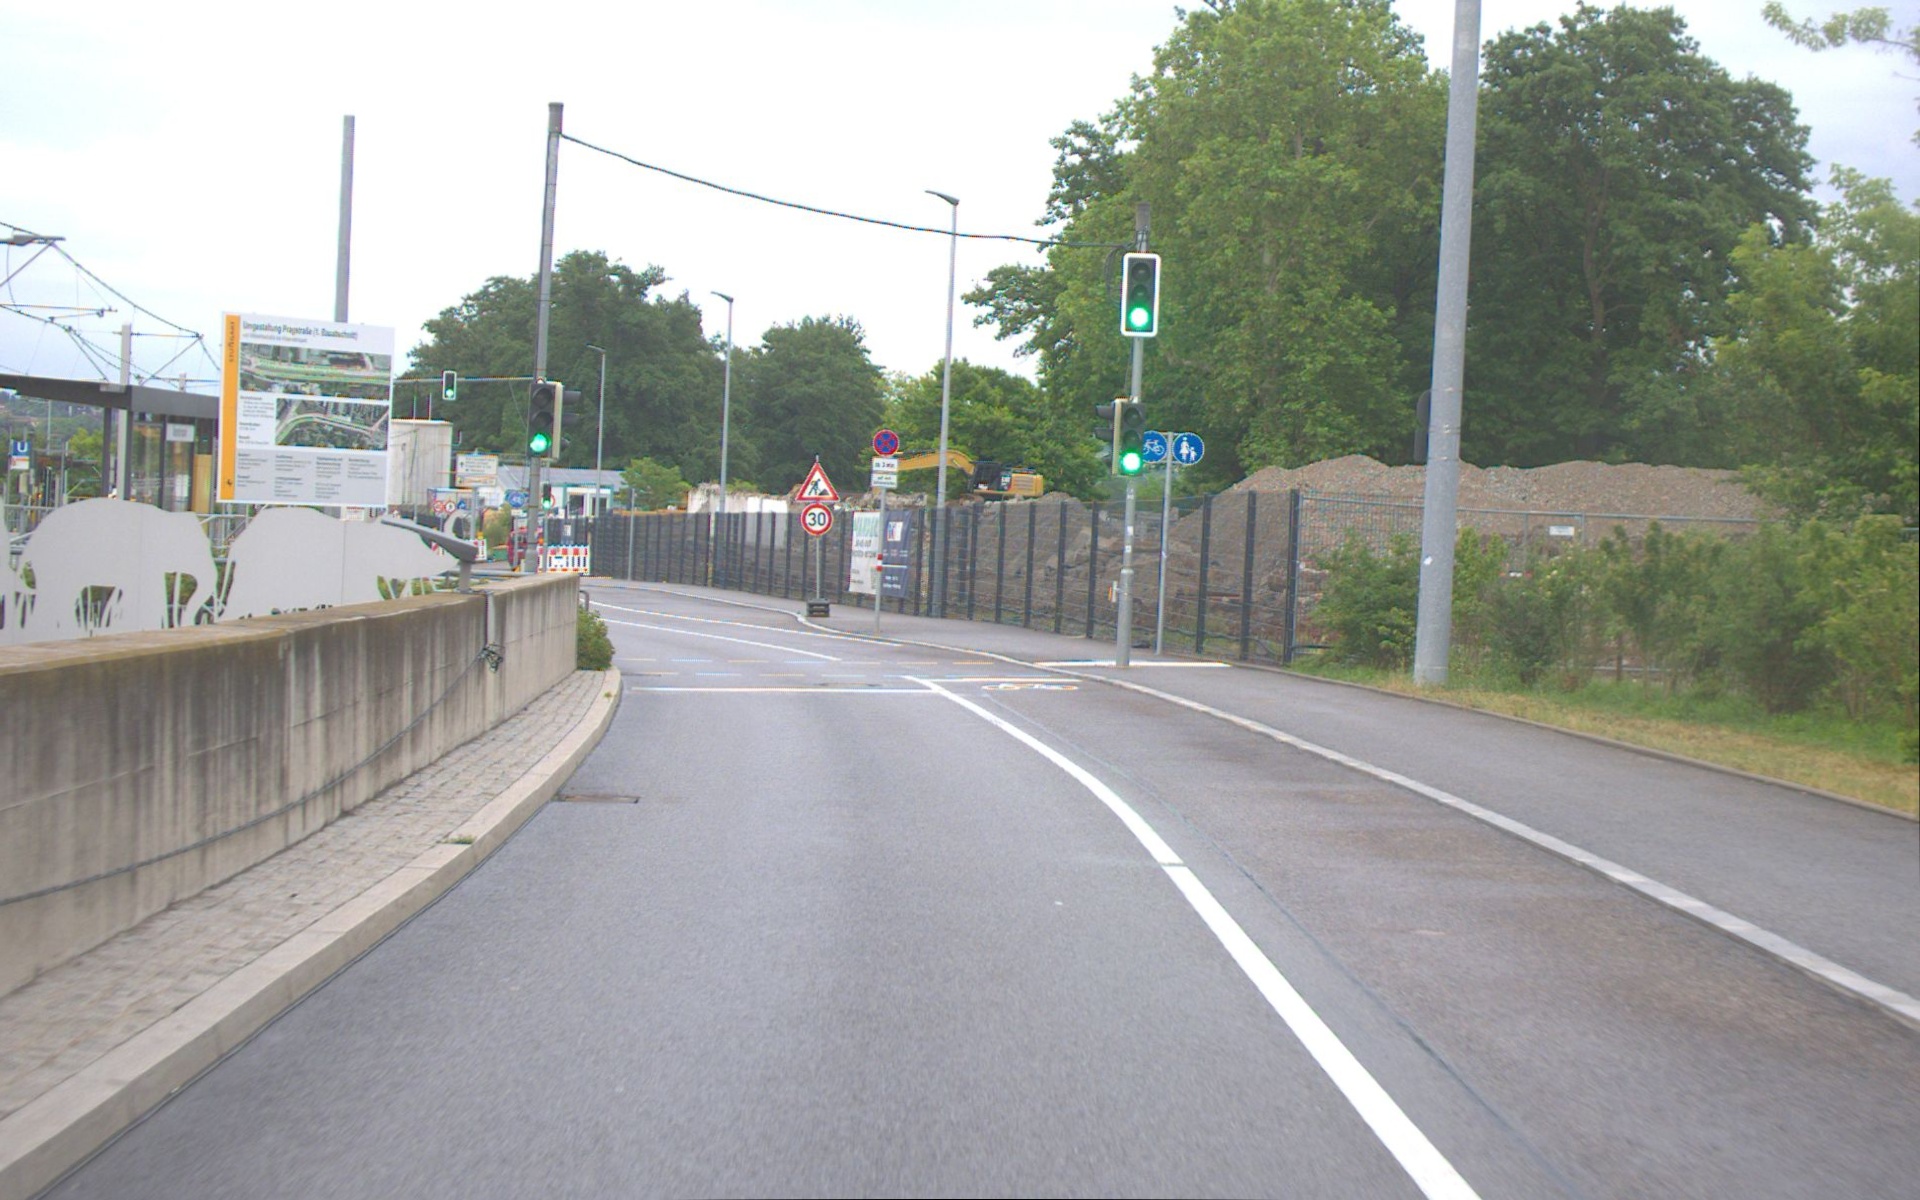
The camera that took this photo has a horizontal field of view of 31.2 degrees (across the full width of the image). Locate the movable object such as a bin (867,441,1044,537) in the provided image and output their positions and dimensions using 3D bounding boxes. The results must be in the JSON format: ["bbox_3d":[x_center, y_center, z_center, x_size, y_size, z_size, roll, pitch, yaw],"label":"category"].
[{"bbox_3d":[-0.326,-7.221,224.595,11.229,5.975,3.492,1,0,-5],"label":"movable object such as a bin"}]

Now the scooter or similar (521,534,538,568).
[{"bbox_3d":[-17.092,-1.957,136.561,0.615,1.347,1.912,2,1,-7],"label":"scooter or similar"}]

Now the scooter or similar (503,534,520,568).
[{"bbox_3d":[-17.816,-1.947,136.492,0.615,1.347,1.912,2,1,-7],"label":"scooter or similar"}]

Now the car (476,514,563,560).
[{"bbox_3d":[-18.243,-2.602,142.606,1.821,1.787,4.405,2,1,18],"label":"car"}]
